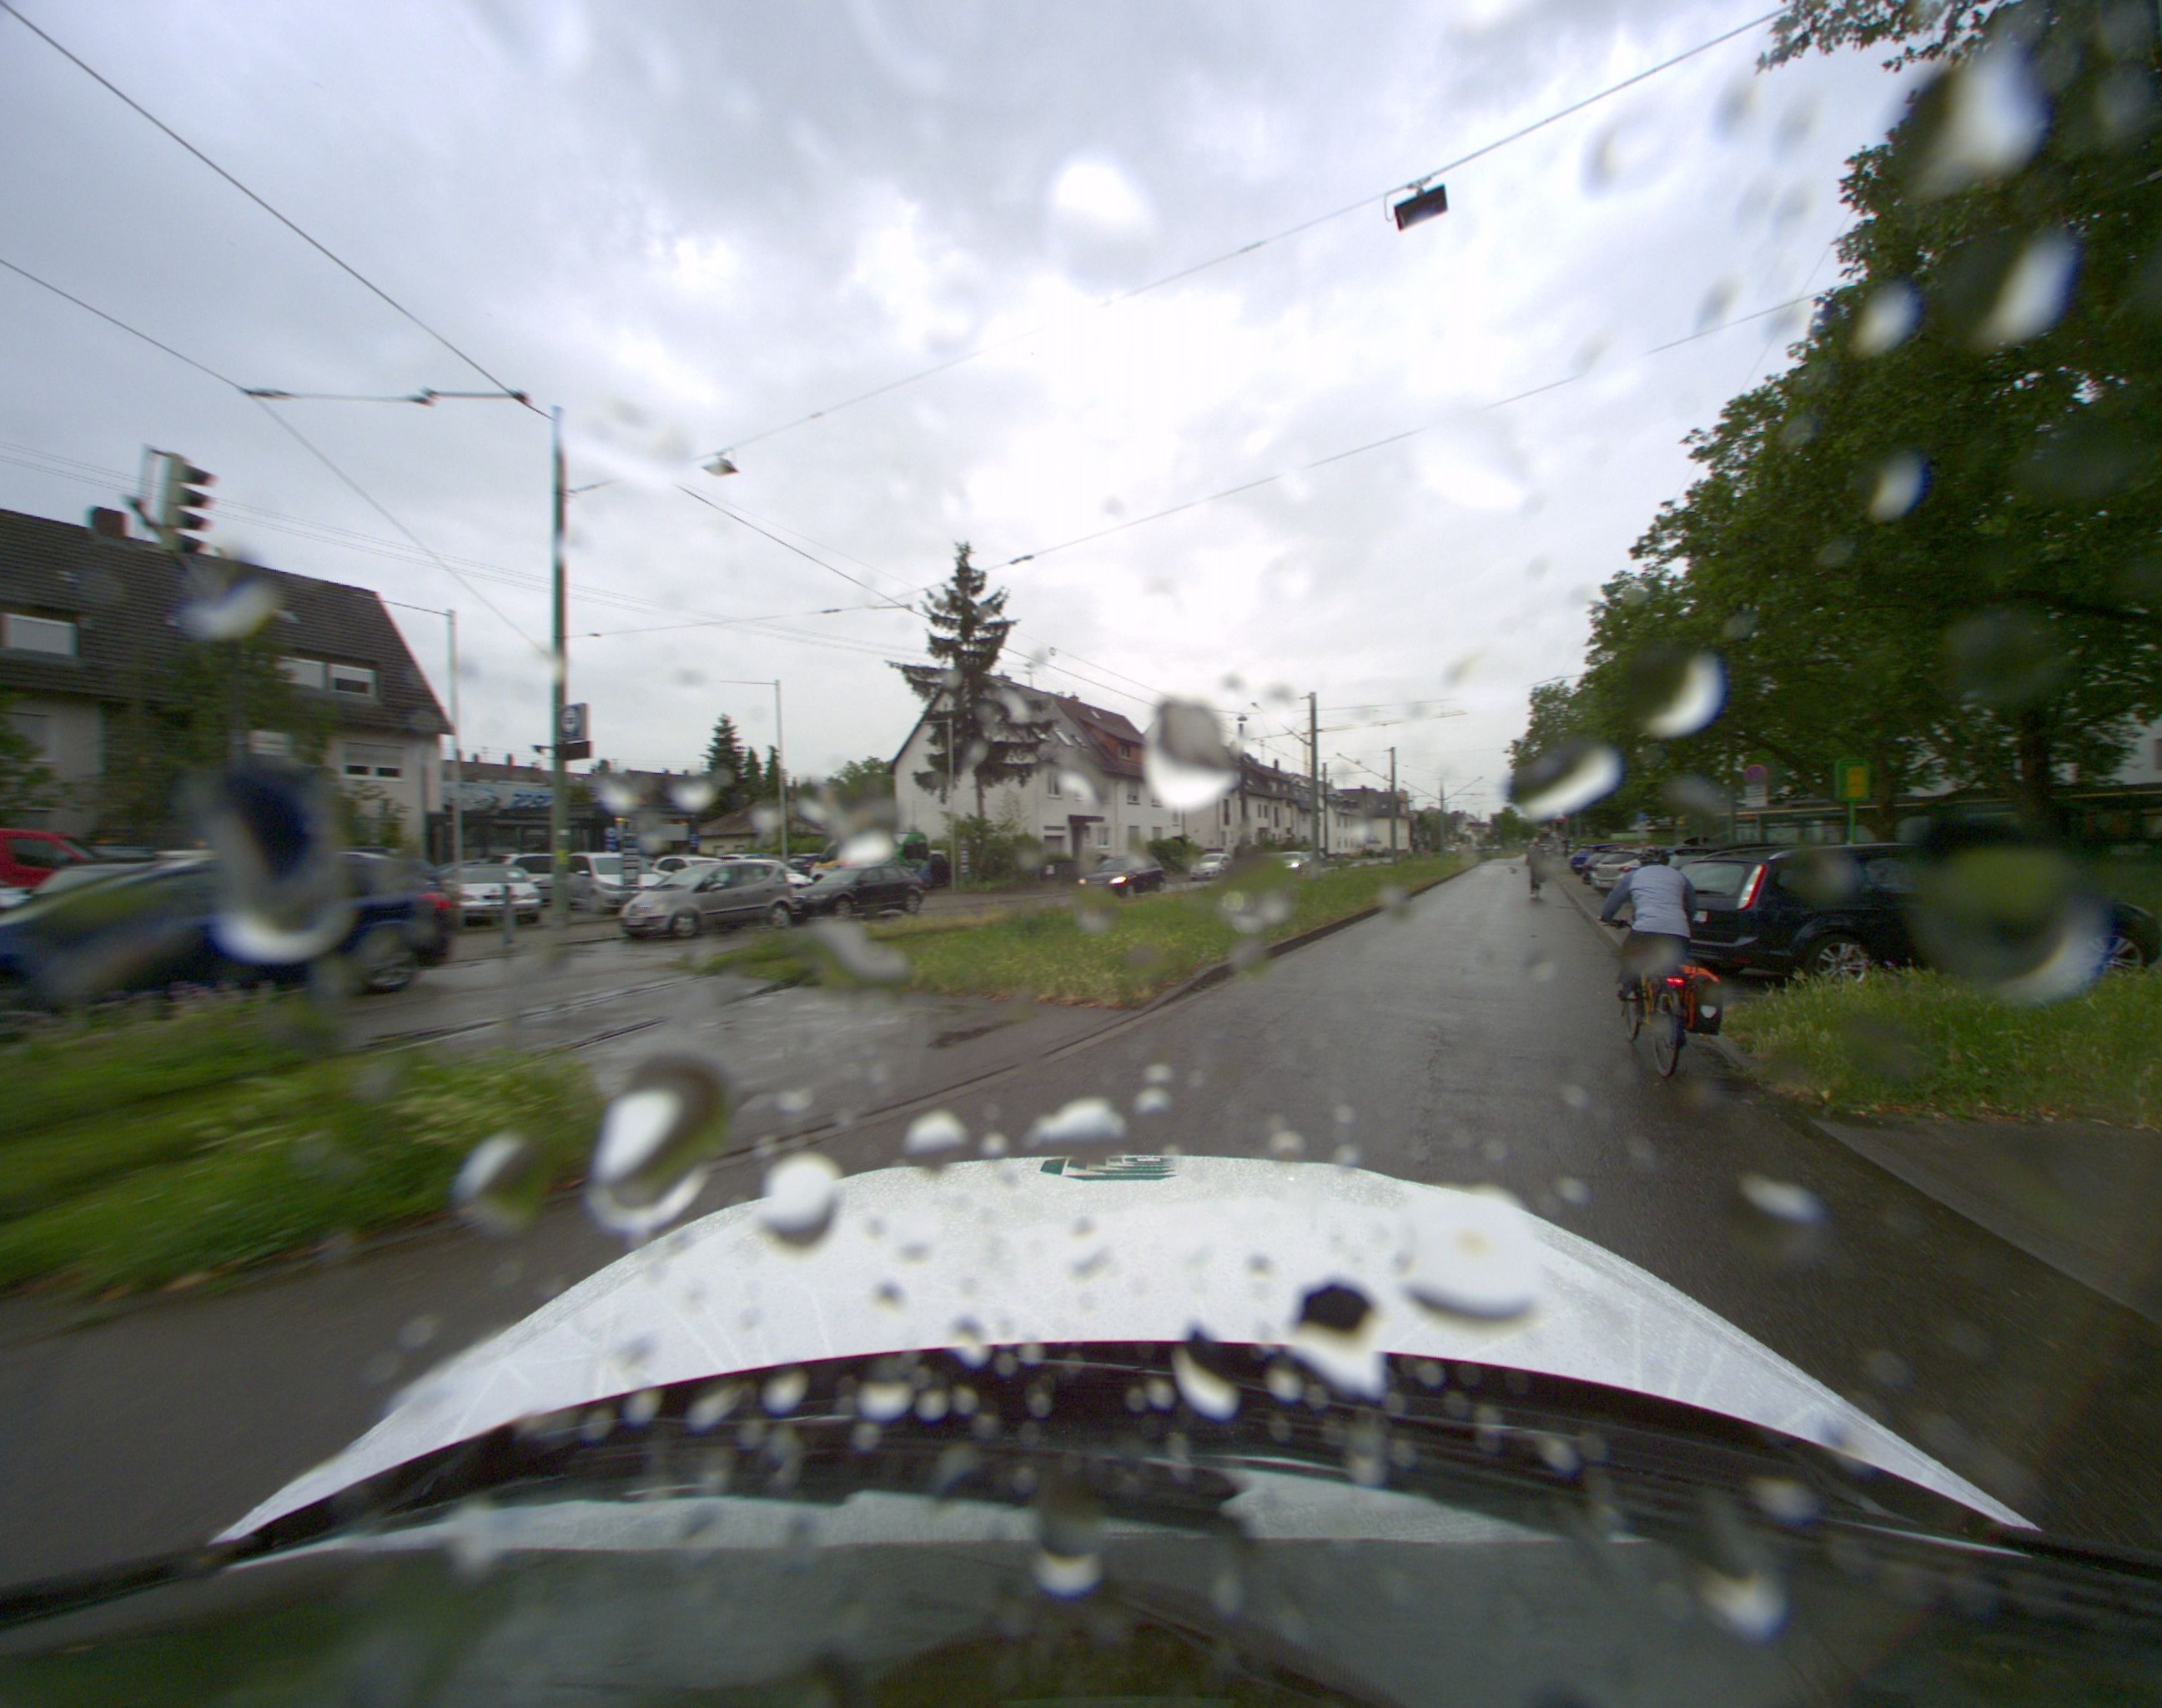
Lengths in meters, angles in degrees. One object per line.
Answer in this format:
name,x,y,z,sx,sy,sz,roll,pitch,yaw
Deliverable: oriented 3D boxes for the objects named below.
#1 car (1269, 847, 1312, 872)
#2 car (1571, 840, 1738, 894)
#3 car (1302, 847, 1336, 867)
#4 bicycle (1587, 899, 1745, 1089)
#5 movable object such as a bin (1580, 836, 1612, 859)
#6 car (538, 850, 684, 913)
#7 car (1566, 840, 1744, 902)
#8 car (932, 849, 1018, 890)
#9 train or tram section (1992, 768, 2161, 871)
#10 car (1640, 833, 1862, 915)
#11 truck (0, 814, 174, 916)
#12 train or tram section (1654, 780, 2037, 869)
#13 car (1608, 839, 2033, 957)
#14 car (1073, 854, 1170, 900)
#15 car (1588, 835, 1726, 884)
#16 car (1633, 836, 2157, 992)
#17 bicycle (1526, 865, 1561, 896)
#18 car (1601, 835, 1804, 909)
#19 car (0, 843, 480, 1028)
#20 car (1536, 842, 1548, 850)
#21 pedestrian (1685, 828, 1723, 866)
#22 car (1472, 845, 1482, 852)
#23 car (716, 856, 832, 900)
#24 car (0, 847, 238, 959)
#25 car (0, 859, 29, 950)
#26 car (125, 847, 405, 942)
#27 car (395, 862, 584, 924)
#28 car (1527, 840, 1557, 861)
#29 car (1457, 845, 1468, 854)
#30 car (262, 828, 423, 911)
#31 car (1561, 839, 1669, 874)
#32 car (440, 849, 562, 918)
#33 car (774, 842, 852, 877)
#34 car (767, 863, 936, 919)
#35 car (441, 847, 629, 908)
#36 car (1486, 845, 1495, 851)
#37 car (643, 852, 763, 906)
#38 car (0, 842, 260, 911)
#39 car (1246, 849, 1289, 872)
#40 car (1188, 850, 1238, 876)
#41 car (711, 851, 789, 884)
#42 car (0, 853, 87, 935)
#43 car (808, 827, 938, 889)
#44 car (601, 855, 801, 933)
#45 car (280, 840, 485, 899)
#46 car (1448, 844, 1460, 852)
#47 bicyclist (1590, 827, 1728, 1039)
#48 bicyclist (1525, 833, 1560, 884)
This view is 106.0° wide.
car,12.669,0.373,49.090,1.585,1.424,3.843,-1,-2,29
car,18.373,0.393,26.223,4.100,1.480,1.864,-3,0,-3
car,19.660,0.288,67.106,1.859,1.503,4.158,-1,-2,29
bicycle,4.425,0.964,6.298,0.745,1.072,1.939,-1,1,29
movable object such as a bin,39.952,-0.509,63.185,1.542,1.704,1.503,-2,0,5
car,-13.142,0.744,22.732,3.822,1.578,1.819,-1,1,30
car,16.448,0.494,23.417,3.990,1.553,1.952,-2,-2,-12
car,-4.888,0.693,38.064,1.975,1.564,3.920,-1,3,28
train or tram section,39.888,-1.211,26.110,2.710,3.590,14.663,0,0,-15
car,14.440,0.419,17.670,3.502,1.506,1.750,-3,-1,-7
truck,-25.140,0.281,18.302,6.136,2.272,1.976,-2,0,-42
train or tram section,36.244,-1.146,40.299,2.710,3.590,14.663,0,0,-15
car,10.417,0.578,11.722,4.520,1.476,1.804,-1,0,-1
car,1.501,0.806,28.629,1.720,1.486,4.024,-1,-2,30
car,20.029,0.177,28.419,3.573,1.480,1.639,-3,0,2
car,8.863,0.592,9.133,4.152,1.476,1.803,-1,0,-2
bicycle,14.422,0.819,25.444,0.813,0.912,1.997,-2,-1,26
car,15.573,0.446,20.496,3.989,1.501,1.817,-4,-1,-12
car,-9.603,0.755,8.772,1.975,1.605,4.599,-1,-2,27
car,93.312,-1.653,164.826,1.974,1.492,4.024,-1,-2,29
pedestrian,29.007,-0.315,37.953,1.036,1.714,1.085,-2,0,16
car,98.685,-1.449,202.742,1.974,1.544,4.024,-1,-2,30
car,-10.499,0.815,27.809,3.792,1.396,1.733,-1,-2,32
car,-17.481,0.789,14.699,2.005,1.717,3.963,-2,0,-29
car,-19.055,0.909,12.696,1.812,1.578,3.836,-2,1,-29
car,-19.785,0.888,19.988,1.974,2.013,4.475,-2,0,31
car,-18.869,1.184,26.216,1.974,1.687,4.475,-2,0,31
car,38.155,-0.280,67.510,1.936,1.553,4.024,-3,-2,28
car,85.014,-1.008,181.470,1.974,1.705,4.024,-1,-2,30
car,-15.245,0.340,17.055,1.840,1.504,4.016,1,-2,-33
car,25.754,0.099,39.381,3.977,1.483,1.998,-2,1,-3
car,-14.271,0.700,19.944,1.844,1.504,4.008,1,-2,-44
car,-13.035,0.241,39.944,1.849,1.580,4.409,-2,0,7
car,-5.987,0.950,21.785,1.701,1.339,4.415,-1,-2,30
car,-16.717,0.667,25.197,1.738,1.687,4.475,-2,0,31
car,113.047,-1.672,224.731,1.974,1.544,4.024,-1,-2,30
car,-11.936,0.791,25.661,3.570,1.573,1.733,-1,-2,32
car,-26.249,0.552,22.624,1.974,1.687,4.475,-2,0,31
car,12.827,0.478,55.822,1.585,1.424,4.695,-1,-2,29
car,7.554,0.551,46.340,1.585,1.424,3.967,-1,-2,29
car,-17.341,0.659,42.938,1.778,1.580,4.456,-2,0,7
car,-23.096,0.859,16.142,4.001,1.598,1.976,-2,0,-42
car,-8.635,0.221,33.738,5.083,2.406,2.165,-1,-2,28
car,-8.213,0.835,17.925,1.701,1.504,3.665,-1,-2,28
car,-21.961,0.442,25.809,1.974,1.687,4.475,-2,0,31
car,80.906,-1.214,176.491,1.974,1.544,4.024,-1,-2,30
bicyclist,4.390,0.551,6.252,0.744,1.485,0.851,-1,1,29
bicyclist,14.339,0.150,25.329,0.823,1.558,0.919,-2,-1,26
